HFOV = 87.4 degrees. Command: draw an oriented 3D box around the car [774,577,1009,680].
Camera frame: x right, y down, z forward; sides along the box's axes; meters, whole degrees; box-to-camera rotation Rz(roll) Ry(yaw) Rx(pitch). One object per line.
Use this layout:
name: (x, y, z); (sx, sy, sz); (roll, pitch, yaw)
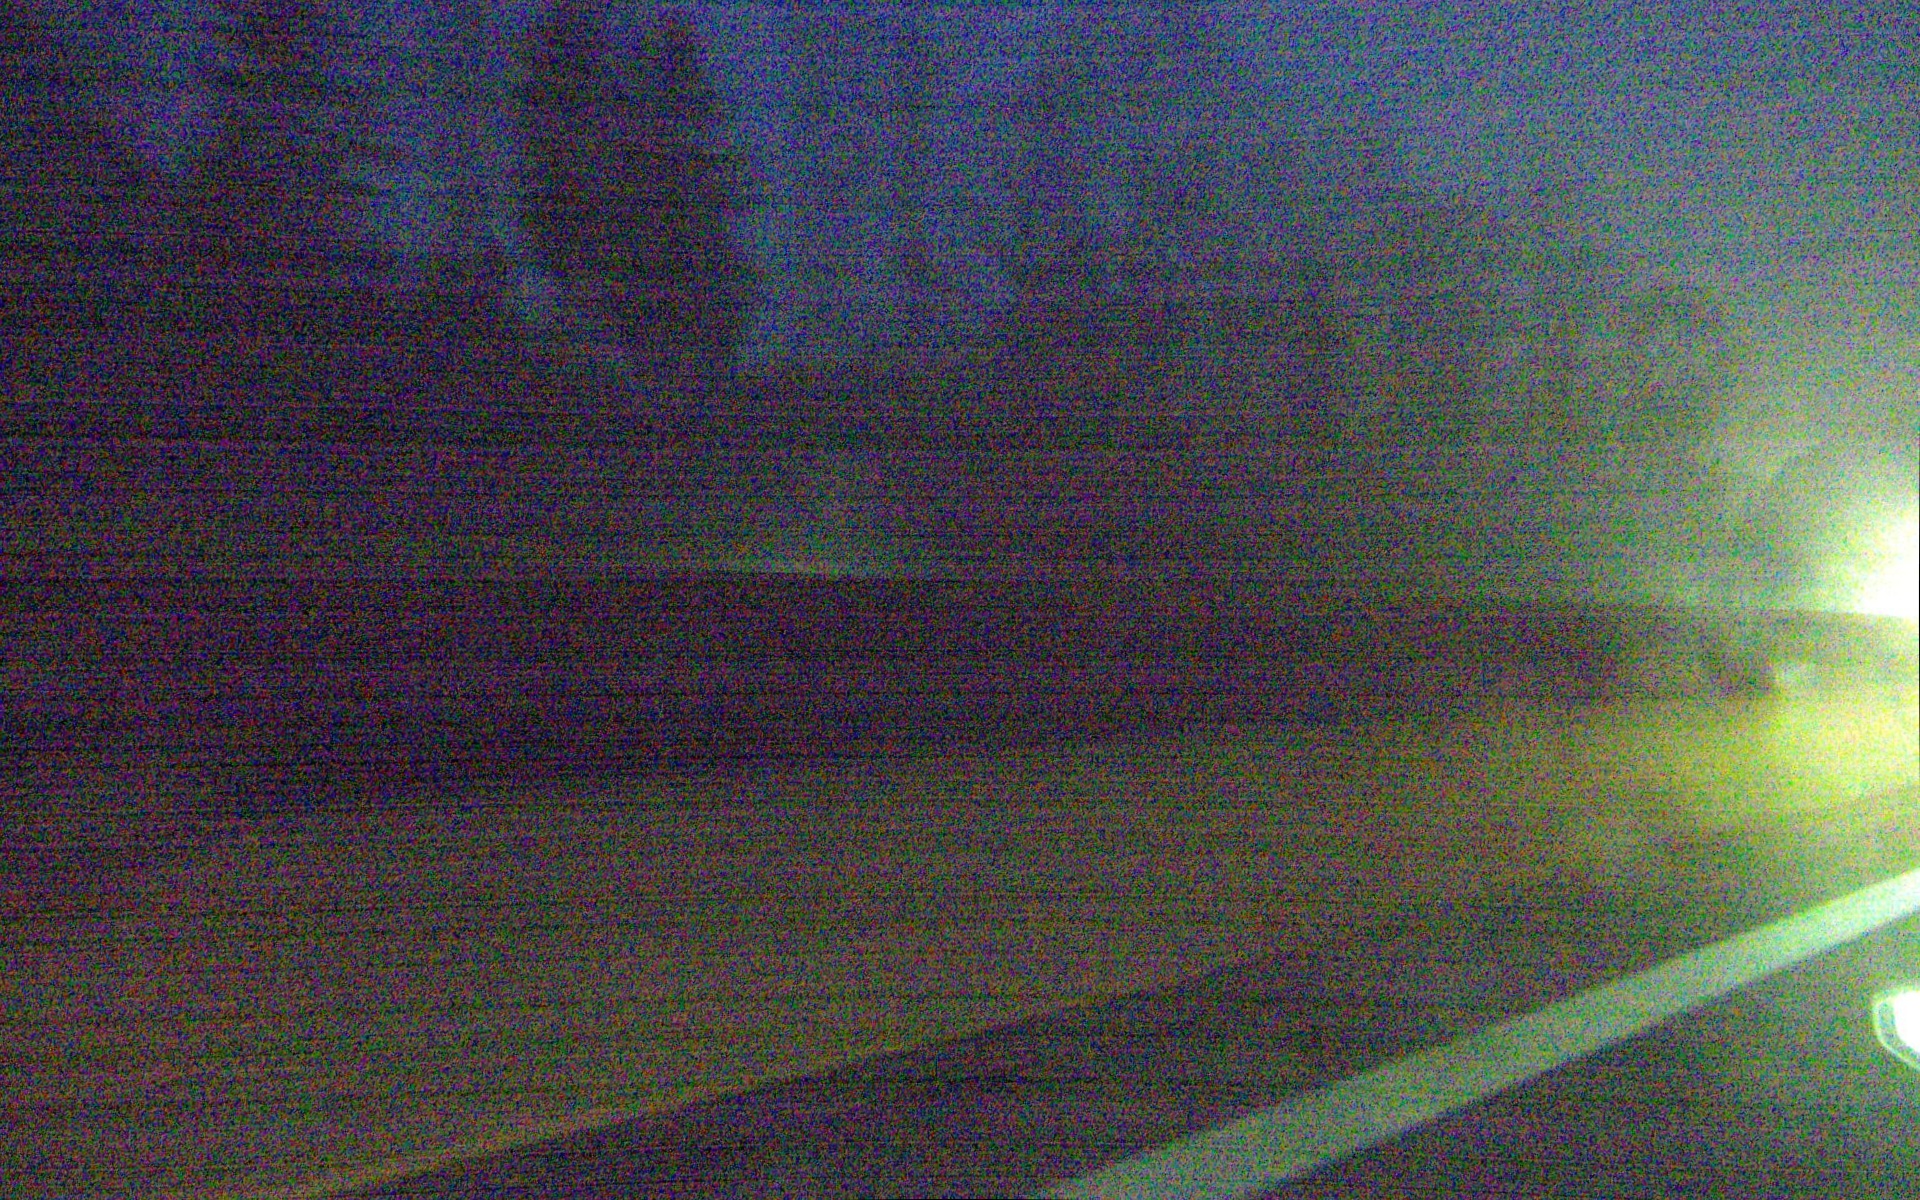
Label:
car: (-1.285, 0.479, 19.029); (3.953, 1.627, 1.983); (0, 5, -30)

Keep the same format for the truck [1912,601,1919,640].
truck: (133.876, 2.843, 138.887); (2.723, 5.167, 5.845); (7, 6, 44)

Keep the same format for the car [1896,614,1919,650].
car: (44.098, 1.479, 45.130); (3.956, 1.499, 1.982); (0, 5, -33)
